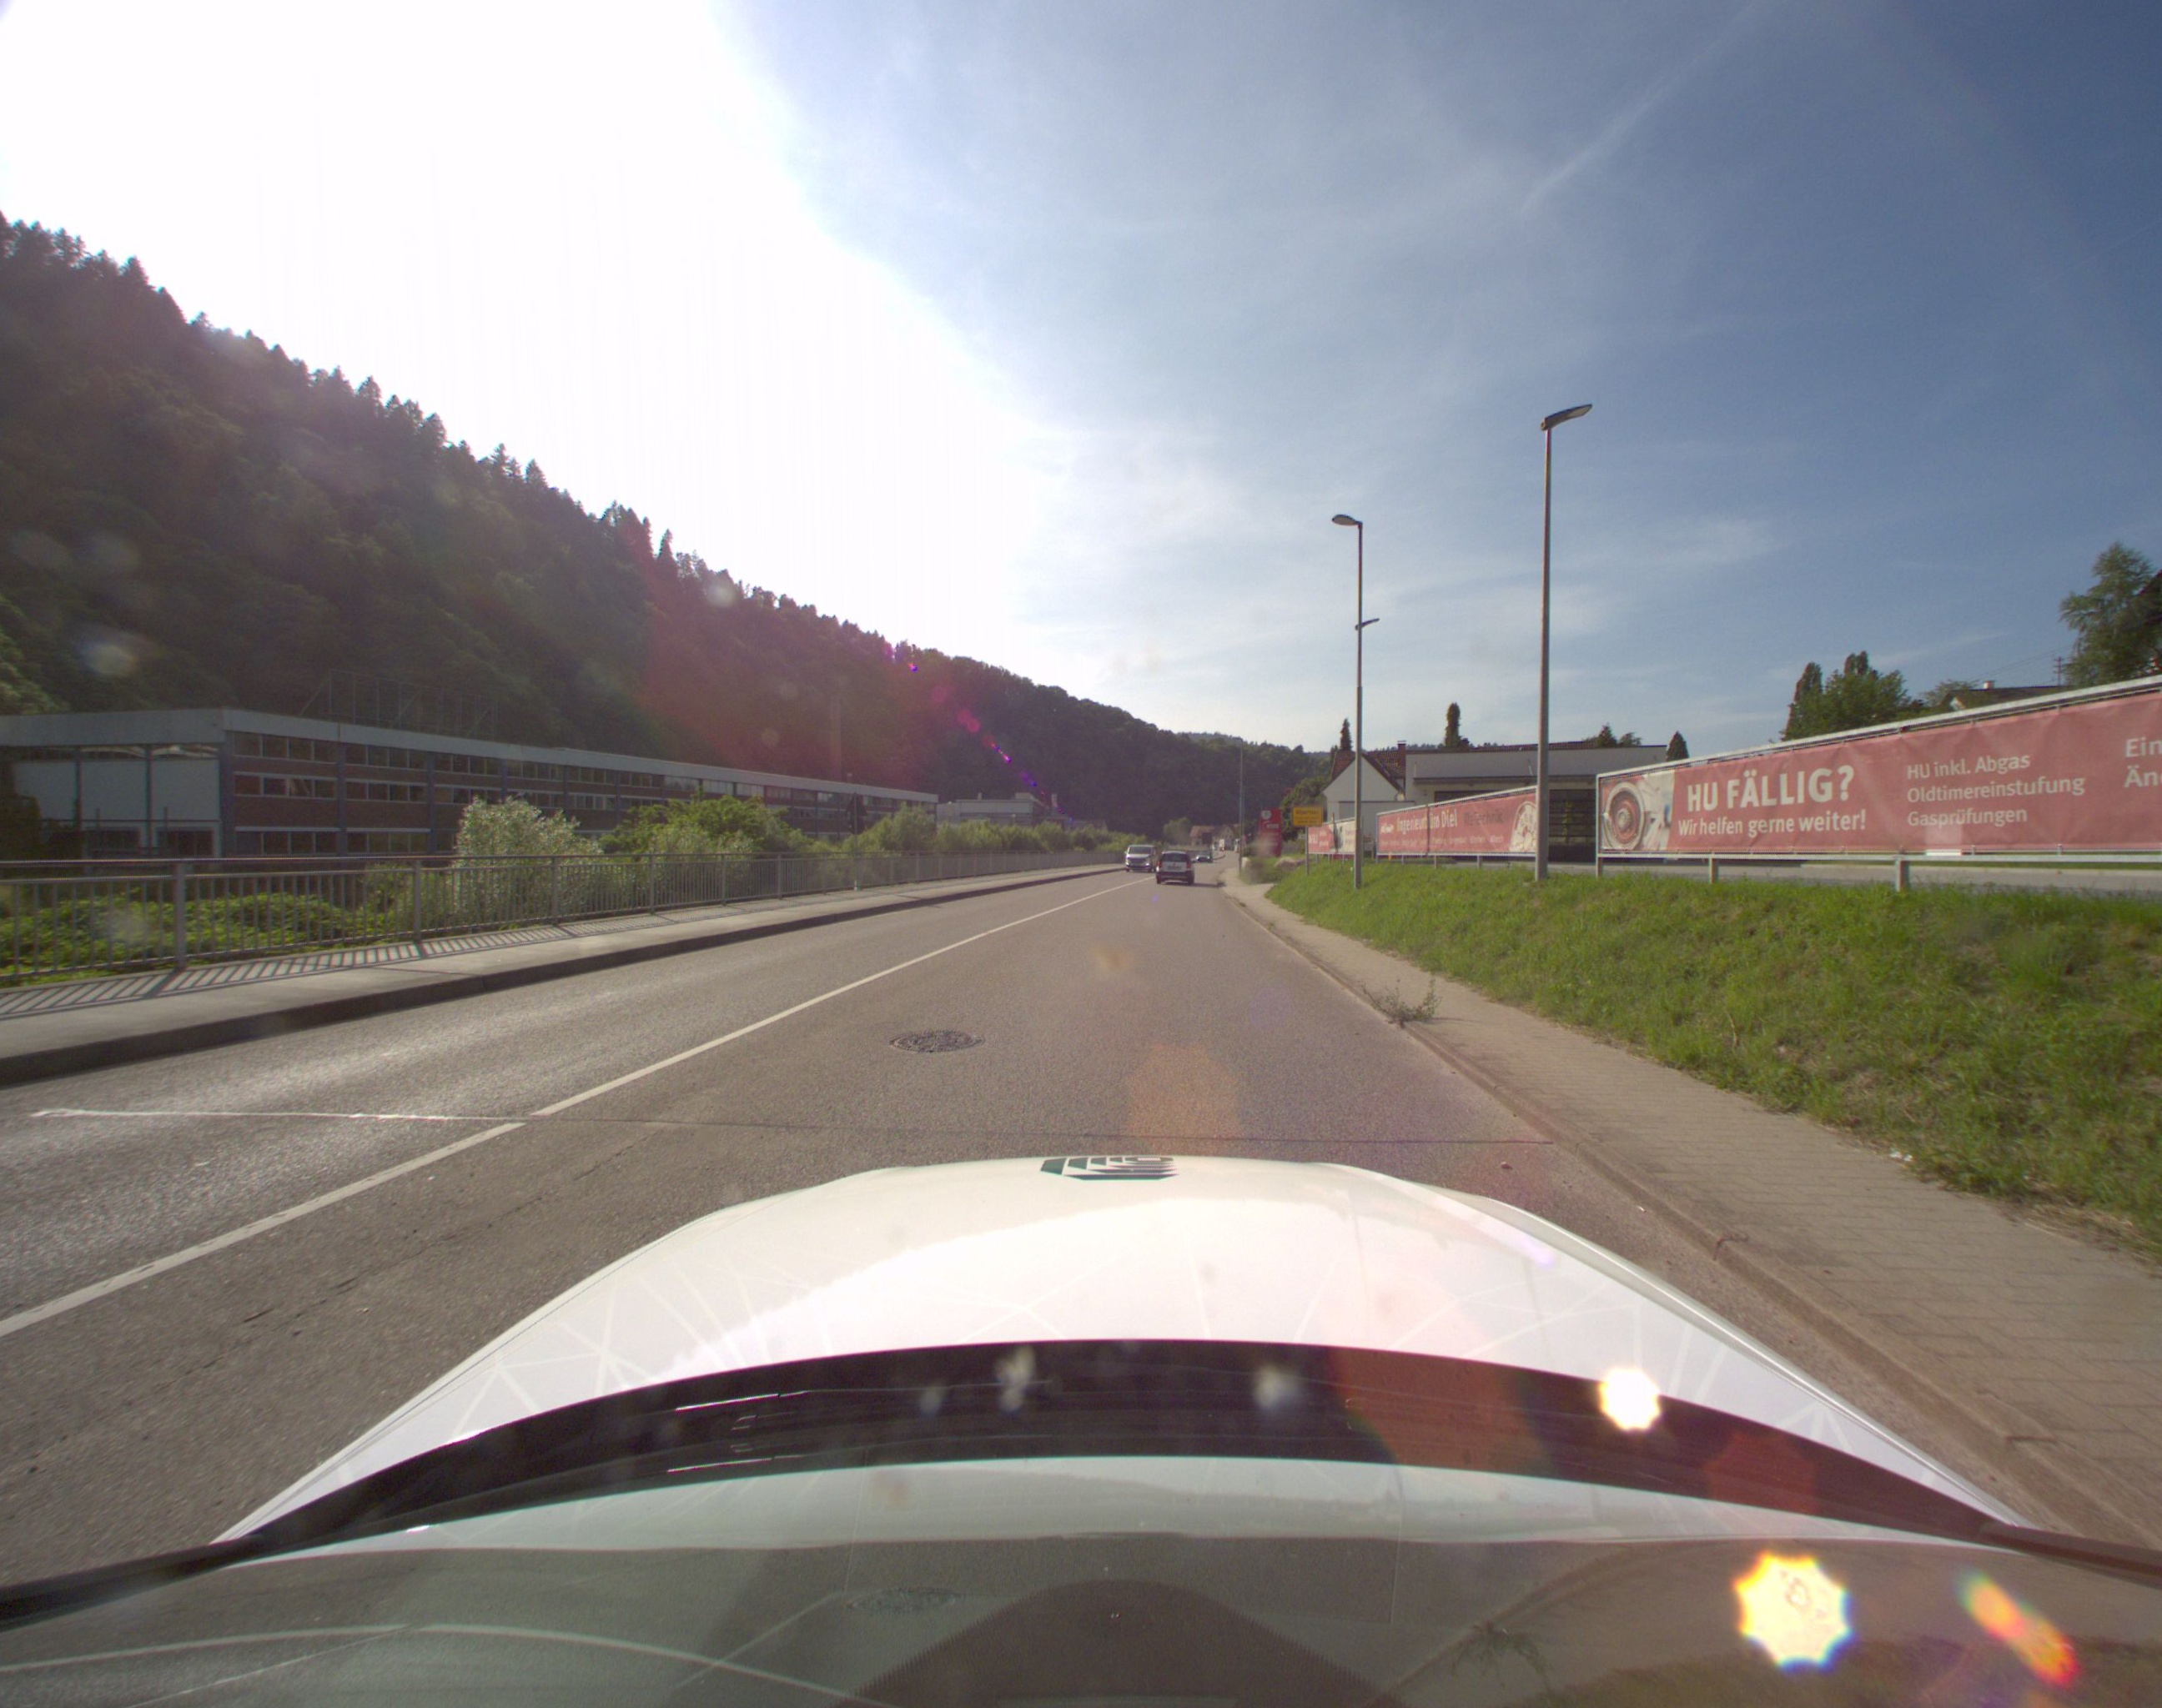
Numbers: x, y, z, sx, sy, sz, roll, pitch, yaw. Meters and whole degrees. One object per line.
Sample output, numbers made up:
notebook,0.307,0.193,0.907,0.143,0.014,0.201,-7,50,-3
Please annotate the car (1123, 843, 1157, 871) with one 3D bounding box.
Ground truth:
car,4.410,0.212,60.214,1.907,1.967,5.162,0,0,11

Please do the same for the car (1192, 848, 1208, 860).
car,15.347,0.002,104.859,1.802,1.484,4.811,1,0,10

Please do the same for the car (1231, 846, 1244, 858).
car,22.508,-0.275,117.278,1.610,1.541,3.290,1,0,14

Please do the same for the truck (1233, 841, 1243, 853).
truck,43.722,-1.984,226.446,2.711,3.374,6.499,1,2,11

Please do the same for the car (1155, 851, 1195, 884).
car,4.714,0.635,41.219,1.852,1.544,4.380,1,0,5
